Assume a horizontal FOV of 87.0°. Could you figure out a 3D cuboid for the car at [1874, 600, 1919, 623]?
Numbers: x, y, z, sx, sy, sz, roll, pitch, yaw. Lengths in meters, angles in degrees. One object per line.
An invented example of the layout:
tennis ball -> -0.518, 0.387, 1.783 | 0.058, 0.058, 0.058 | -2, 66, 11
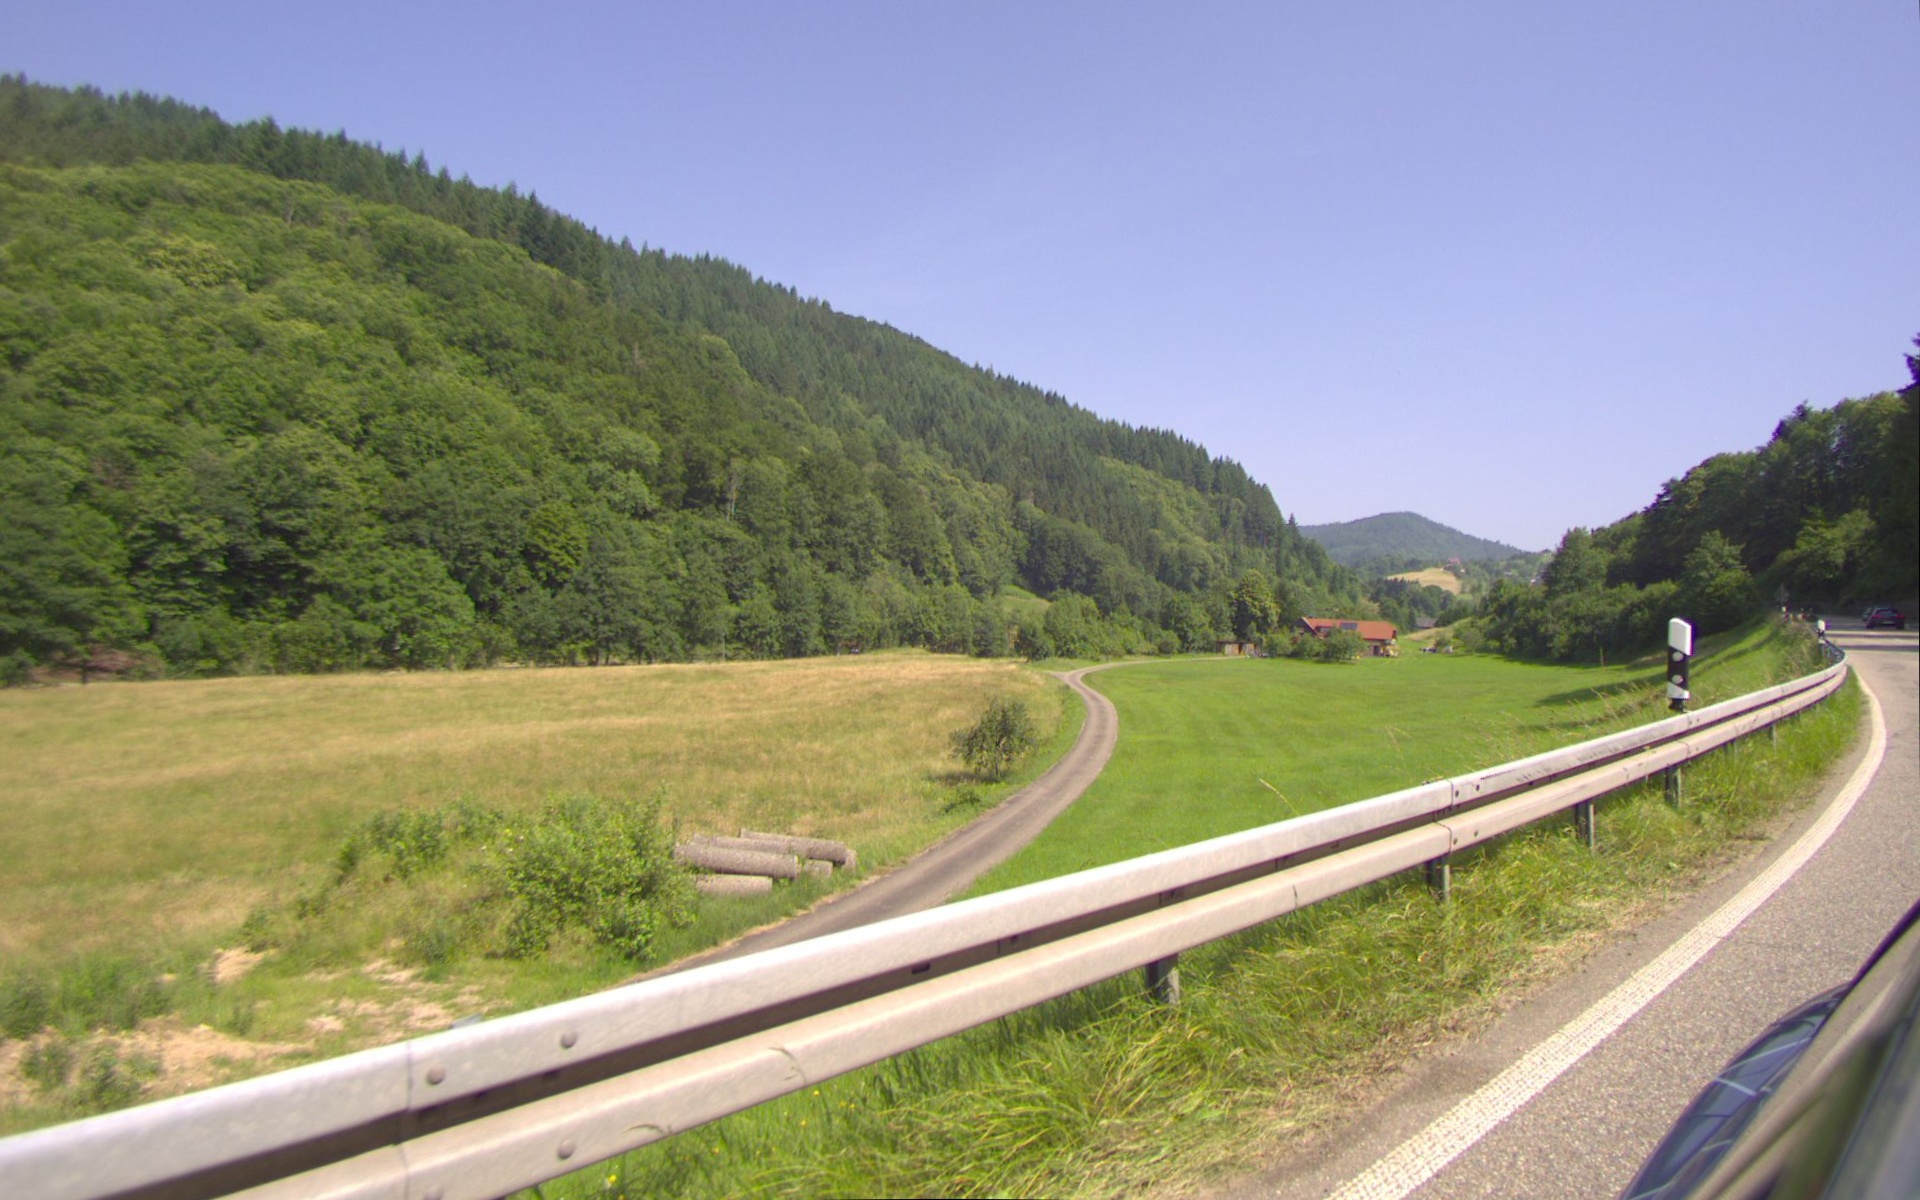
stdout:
car -> 61.514, 0.755, 66.425 | 1.759, 1.414, 4.093 | -1, 0, 35
